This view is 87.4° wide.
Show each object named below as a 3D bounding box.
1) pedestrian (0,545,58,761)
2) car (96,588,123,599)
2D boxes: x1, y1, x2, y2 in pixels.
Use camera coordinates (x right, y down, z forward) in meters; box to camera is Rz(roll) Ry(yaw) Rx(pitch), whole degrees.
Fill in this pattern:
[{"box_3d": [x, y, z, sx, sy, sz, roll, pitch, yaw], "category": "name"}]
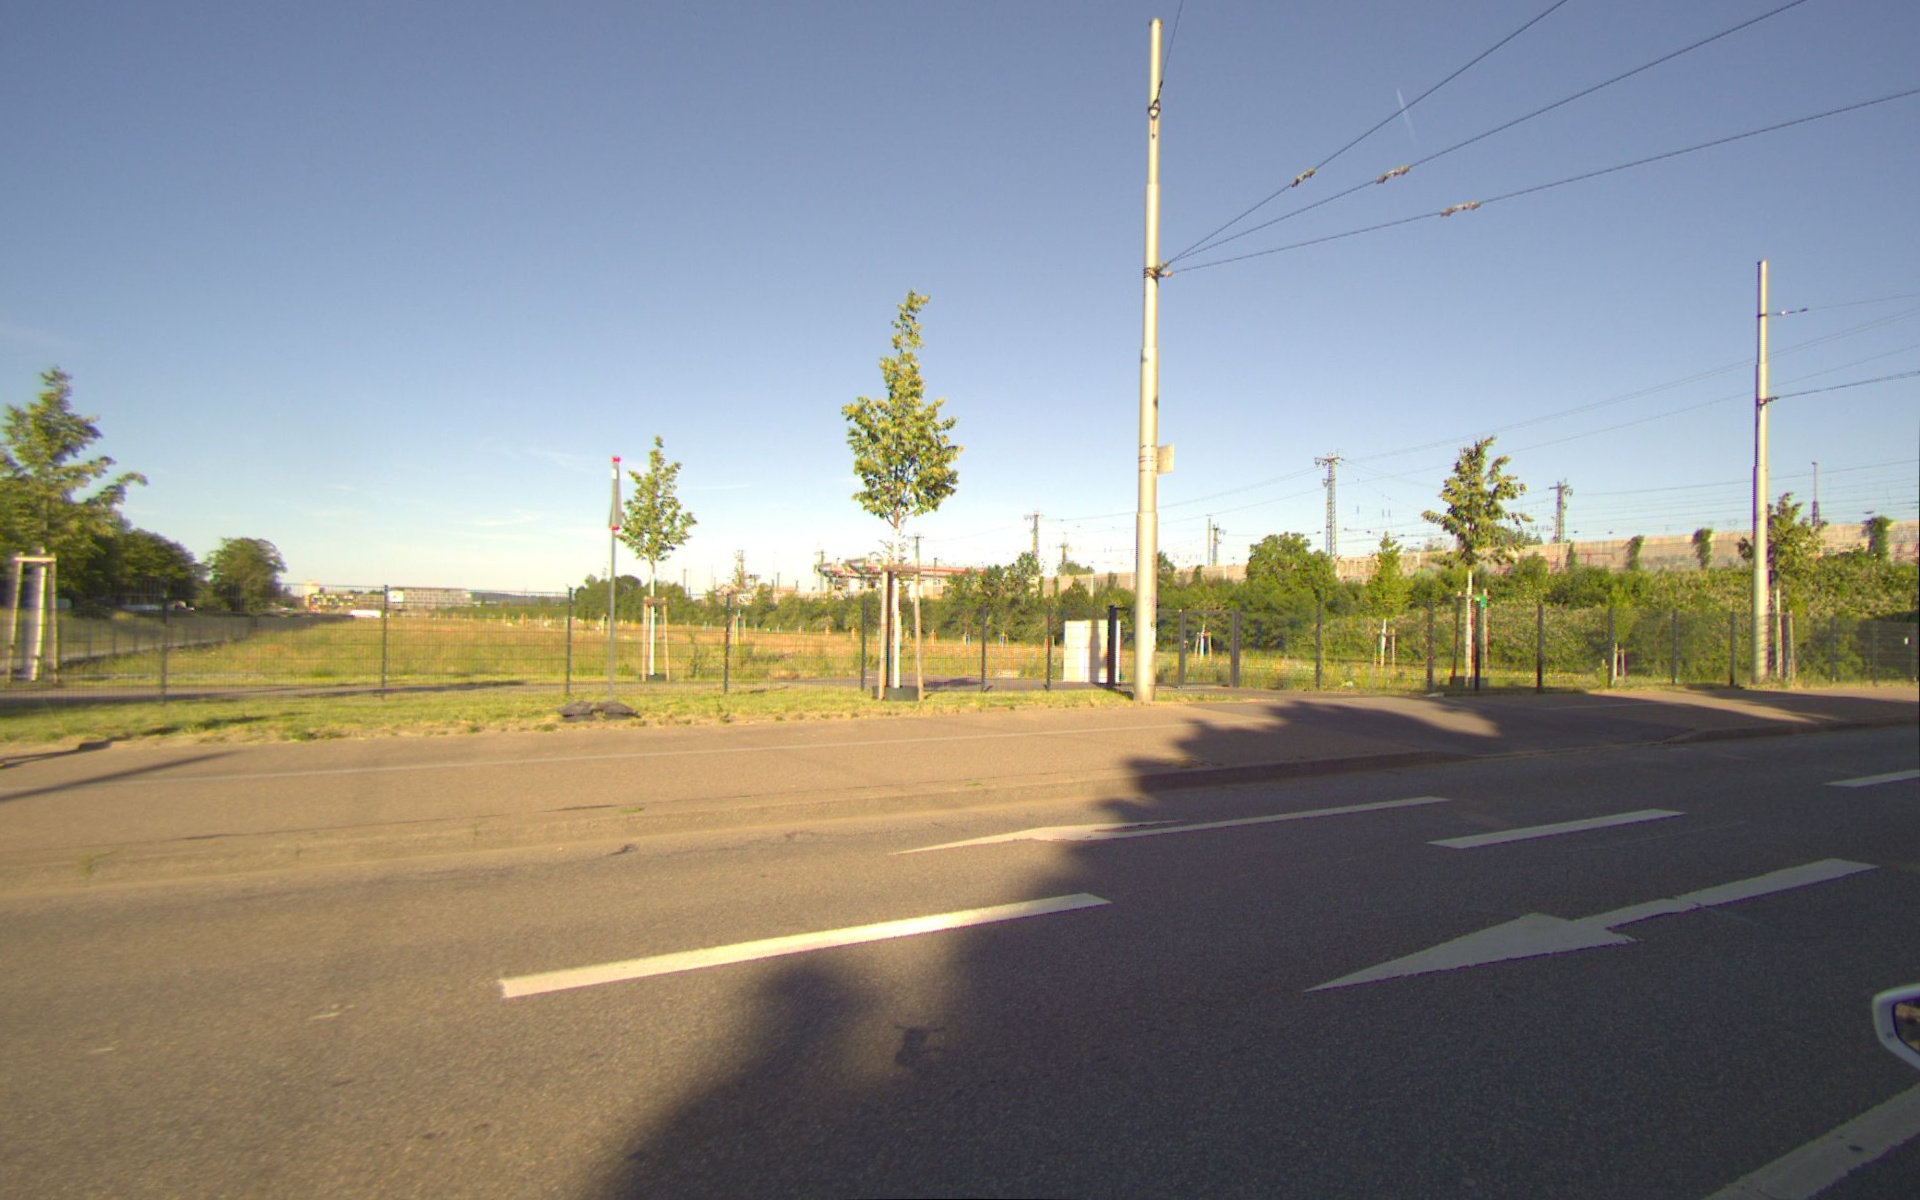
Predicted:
[{"box_3d": [-7.949, 0.399, 7.815, 1.165, 1.651, 0.829, 0, 2, -26], "category": "pedestrian"}, {"box_3d": [-120.458, -0.872, 142.277, 1.917, 1.513, 4.178, 0, -1, -27], "category": "car"}]
